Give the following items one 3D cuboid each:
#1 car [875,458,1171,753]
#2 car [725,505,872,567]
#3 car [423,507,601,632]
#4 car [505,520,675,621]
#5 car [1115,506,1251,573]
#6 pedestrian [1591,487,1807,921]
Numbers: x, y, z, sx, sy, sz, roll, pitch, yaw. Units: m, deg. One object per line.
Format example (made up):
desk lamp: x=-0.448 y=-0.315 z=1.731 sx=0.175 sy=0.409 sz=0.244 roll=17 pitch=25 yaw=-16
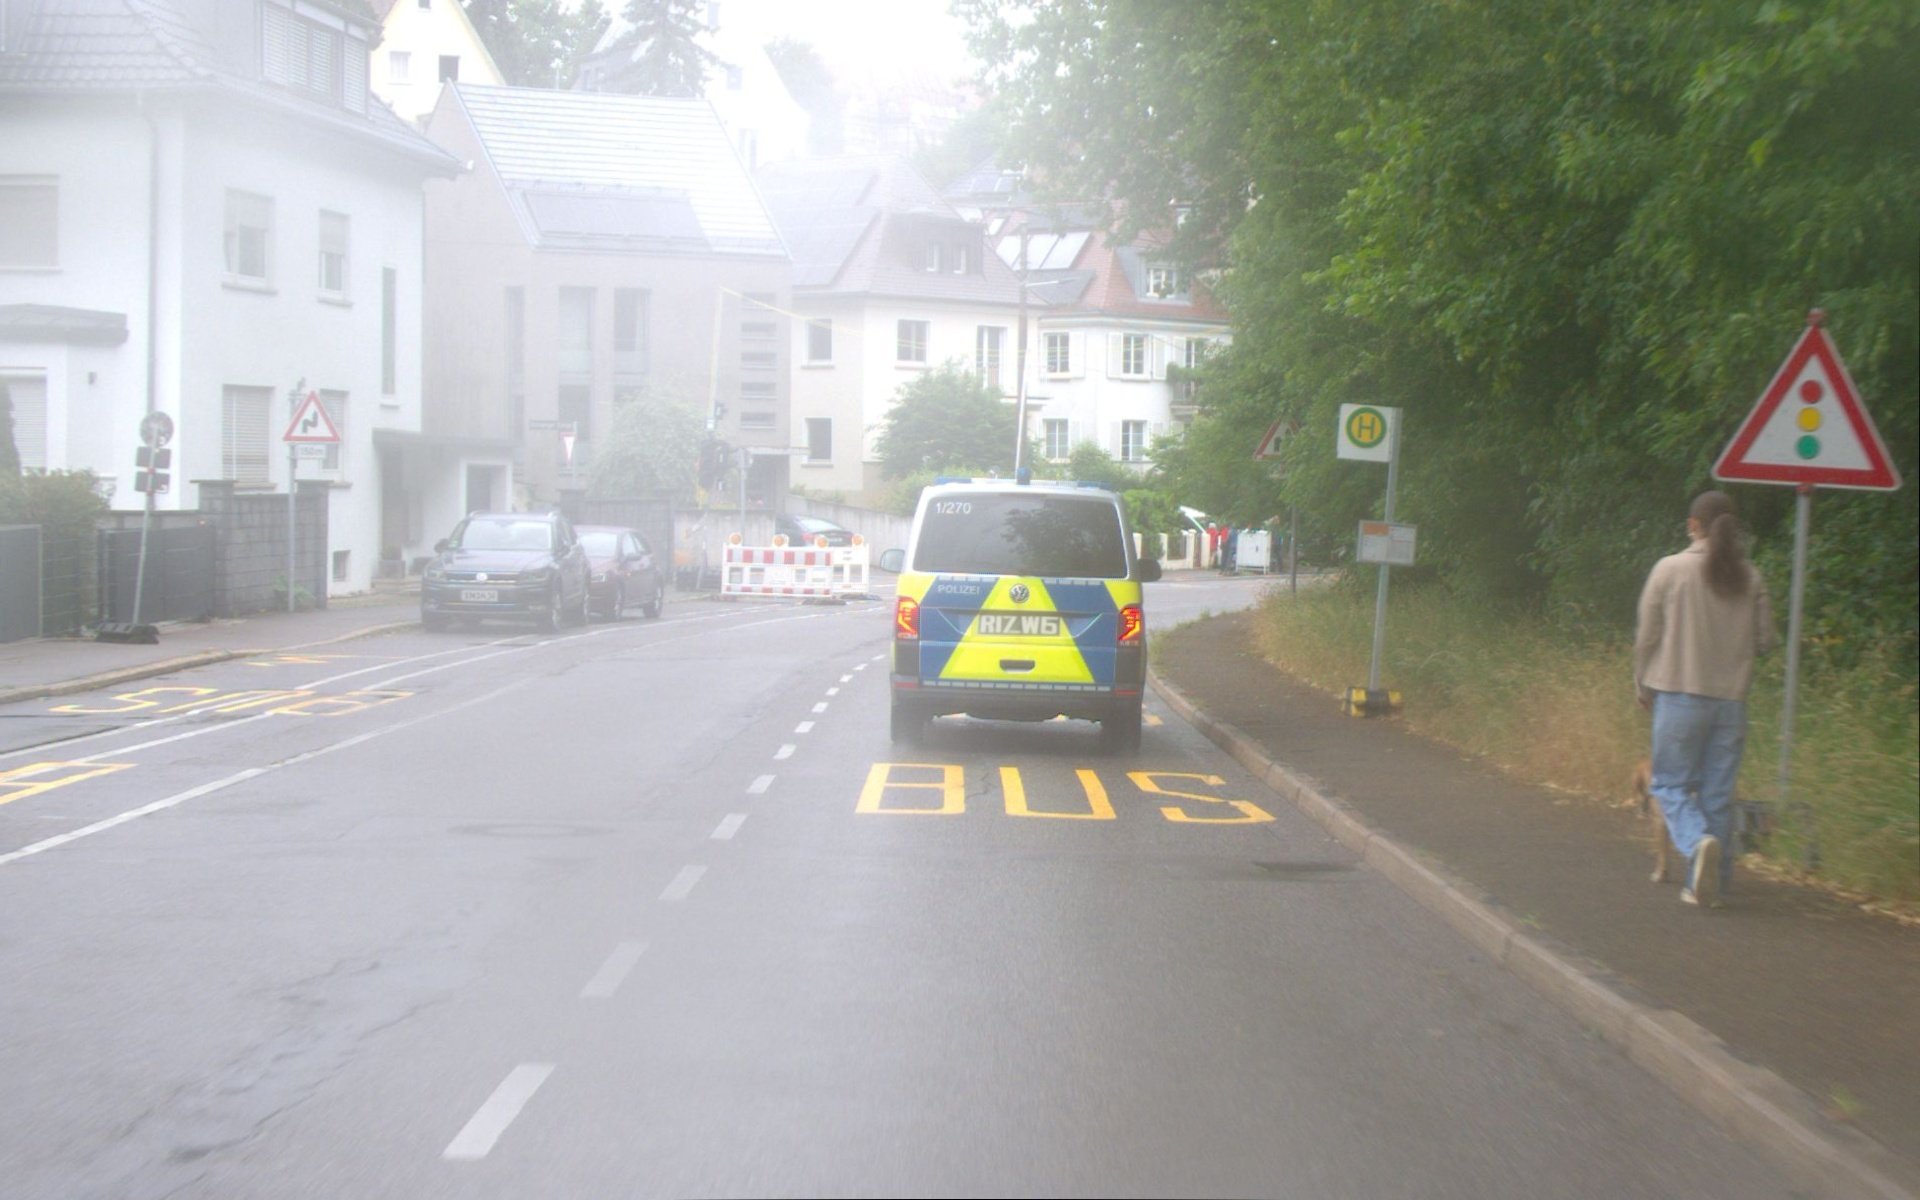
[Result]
car: x=0.392 y=0.010 z=26.448 sx=1.993 sy=2.007 sz=4.402 roll=2 pitch=1 yaw=-2
car: x=-4.226 y=-1.672 z=89.391 sx=1.834 sy=1.438 sz=4.000 roll=1 pitch=3 yaw=-37
car: x=-6.206 y=-0.469 z=48.049 sx=1.754 sy=1.653 sz=4.405 roll=0 pitch=2 yaw=2
car: x=-5.709 y=-0.485 z=53.520 sx=1.617 sy=1.435 sz=4.229 roll=2 pitch=2 yaw=8
car: x=7.290 y=-1.984 z=112.391 sx=3.994 sy=2.006 sz=1.827 roll=3 pitch=2 yaw=31
pedestrian: x=2.822 y=0.388 z=13.182 sx=0.642 sy=1.605 sz=0.670 roll=1 pitch=0 yaw=-1
